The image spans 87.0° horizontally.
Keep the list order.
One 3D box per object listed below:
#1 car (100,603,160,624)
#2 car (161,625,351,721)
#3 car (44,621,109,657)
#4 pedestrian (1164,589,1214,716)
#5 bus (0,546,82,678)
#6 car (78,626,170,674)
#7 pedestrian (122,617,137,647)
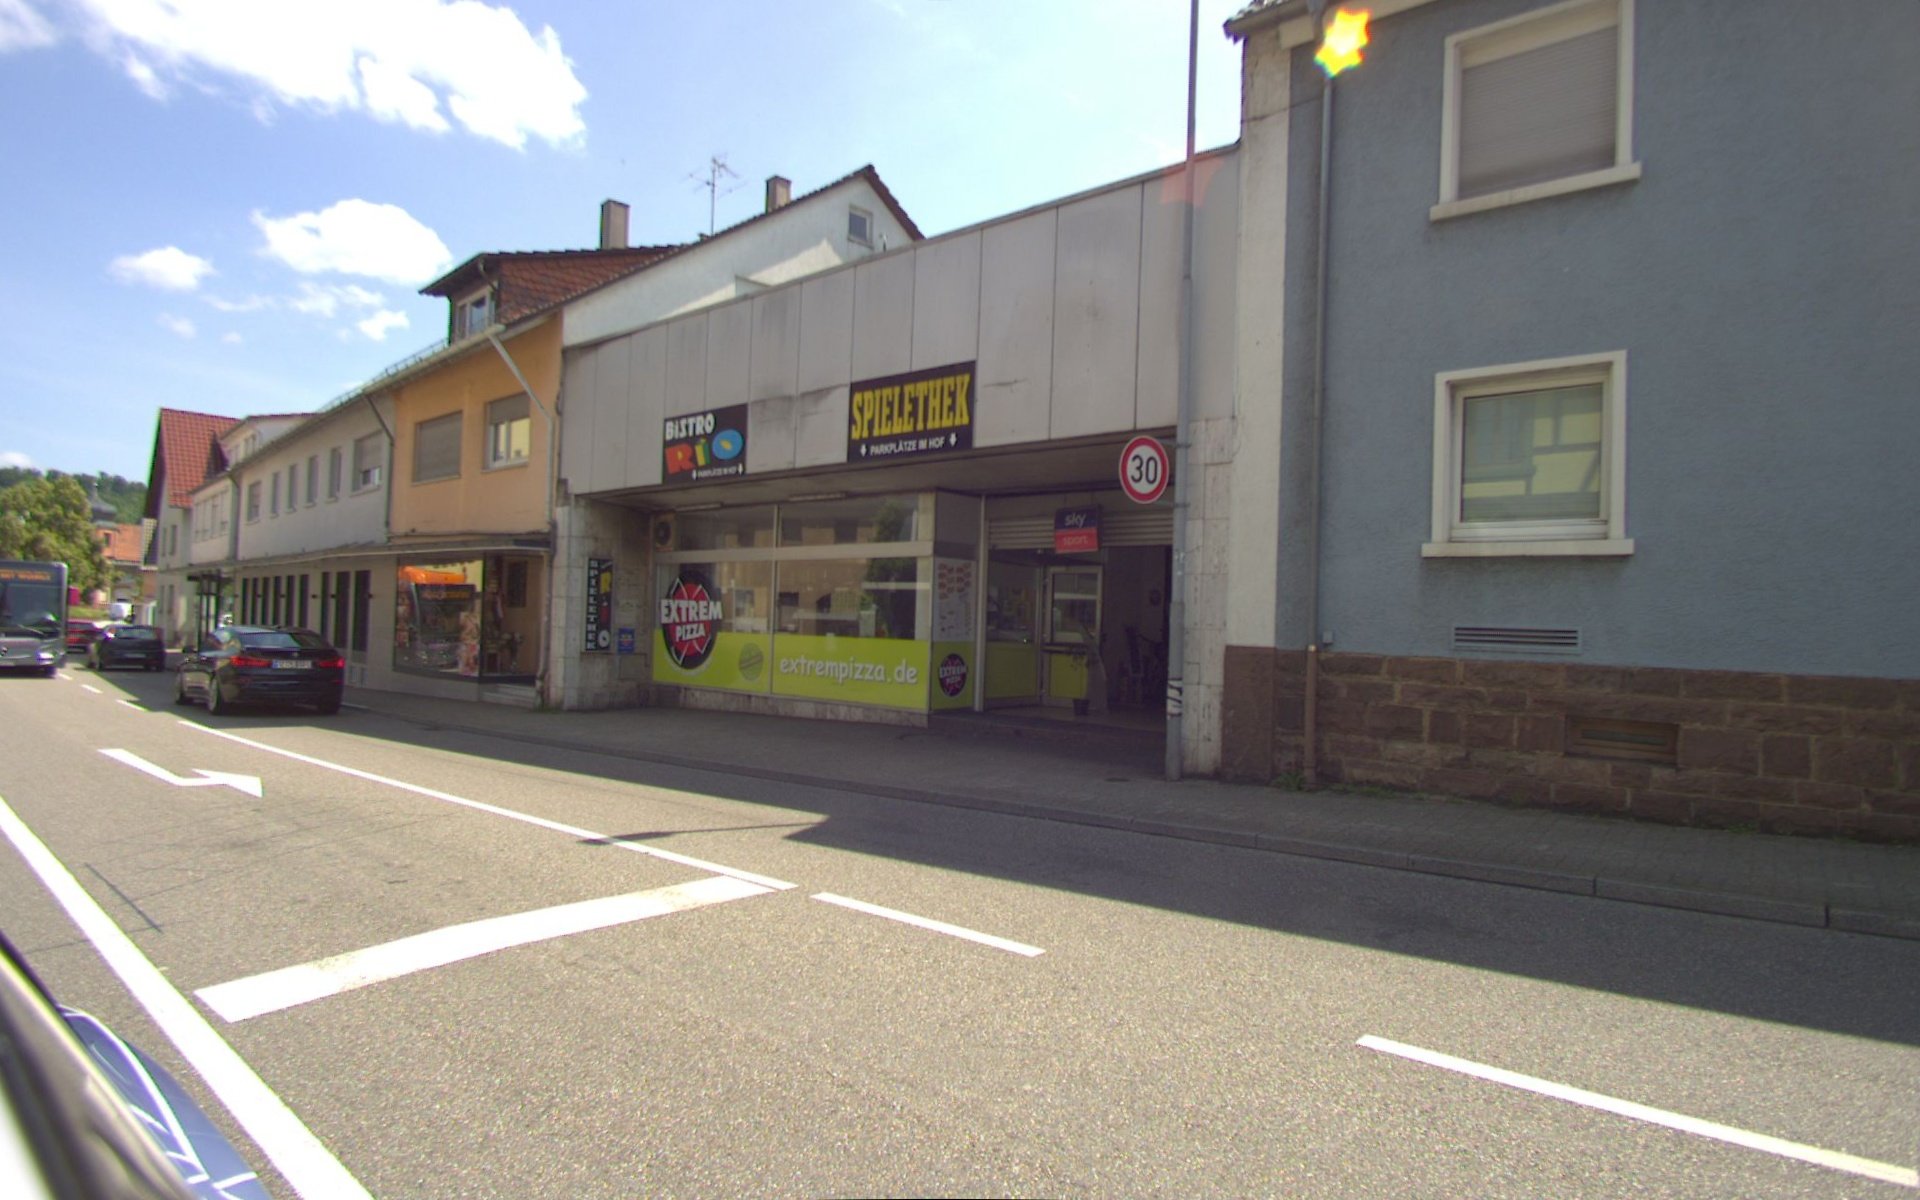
[{"bbox_3d":[-83.284,1.381,101.661,1.958,1.958,4.421,0,-2,11],"label":"car"},{"bbox_3d":[-13.028,1.293,18.612,4.796,1.498,1.777,-1,-5,43],"label":"car"},{"bbox_3d":[-38.167,1.686,43.681,4.286,1.419,1.698,-2,-6,44],"label":"car"},{"bbox_3d":[3.407,0.774,15.126,0.687,1.842,0.741,0,-2,10],"label":"pedestrian"},{"bbox_3d":[-30.155,0.471,31.315,19.037,3.229,2.820,-2,-2,44],"label":"bus"},{"bbox_3d":[-26.699,1.595,32.301,3.820,1.434,1.699,-2,-5,43],"label":"car"},{"bbox_3d":[-49.846,1.929,60.733,0.475,1.777,0.468,1,-2,22],"label":"pedestrian"}]
